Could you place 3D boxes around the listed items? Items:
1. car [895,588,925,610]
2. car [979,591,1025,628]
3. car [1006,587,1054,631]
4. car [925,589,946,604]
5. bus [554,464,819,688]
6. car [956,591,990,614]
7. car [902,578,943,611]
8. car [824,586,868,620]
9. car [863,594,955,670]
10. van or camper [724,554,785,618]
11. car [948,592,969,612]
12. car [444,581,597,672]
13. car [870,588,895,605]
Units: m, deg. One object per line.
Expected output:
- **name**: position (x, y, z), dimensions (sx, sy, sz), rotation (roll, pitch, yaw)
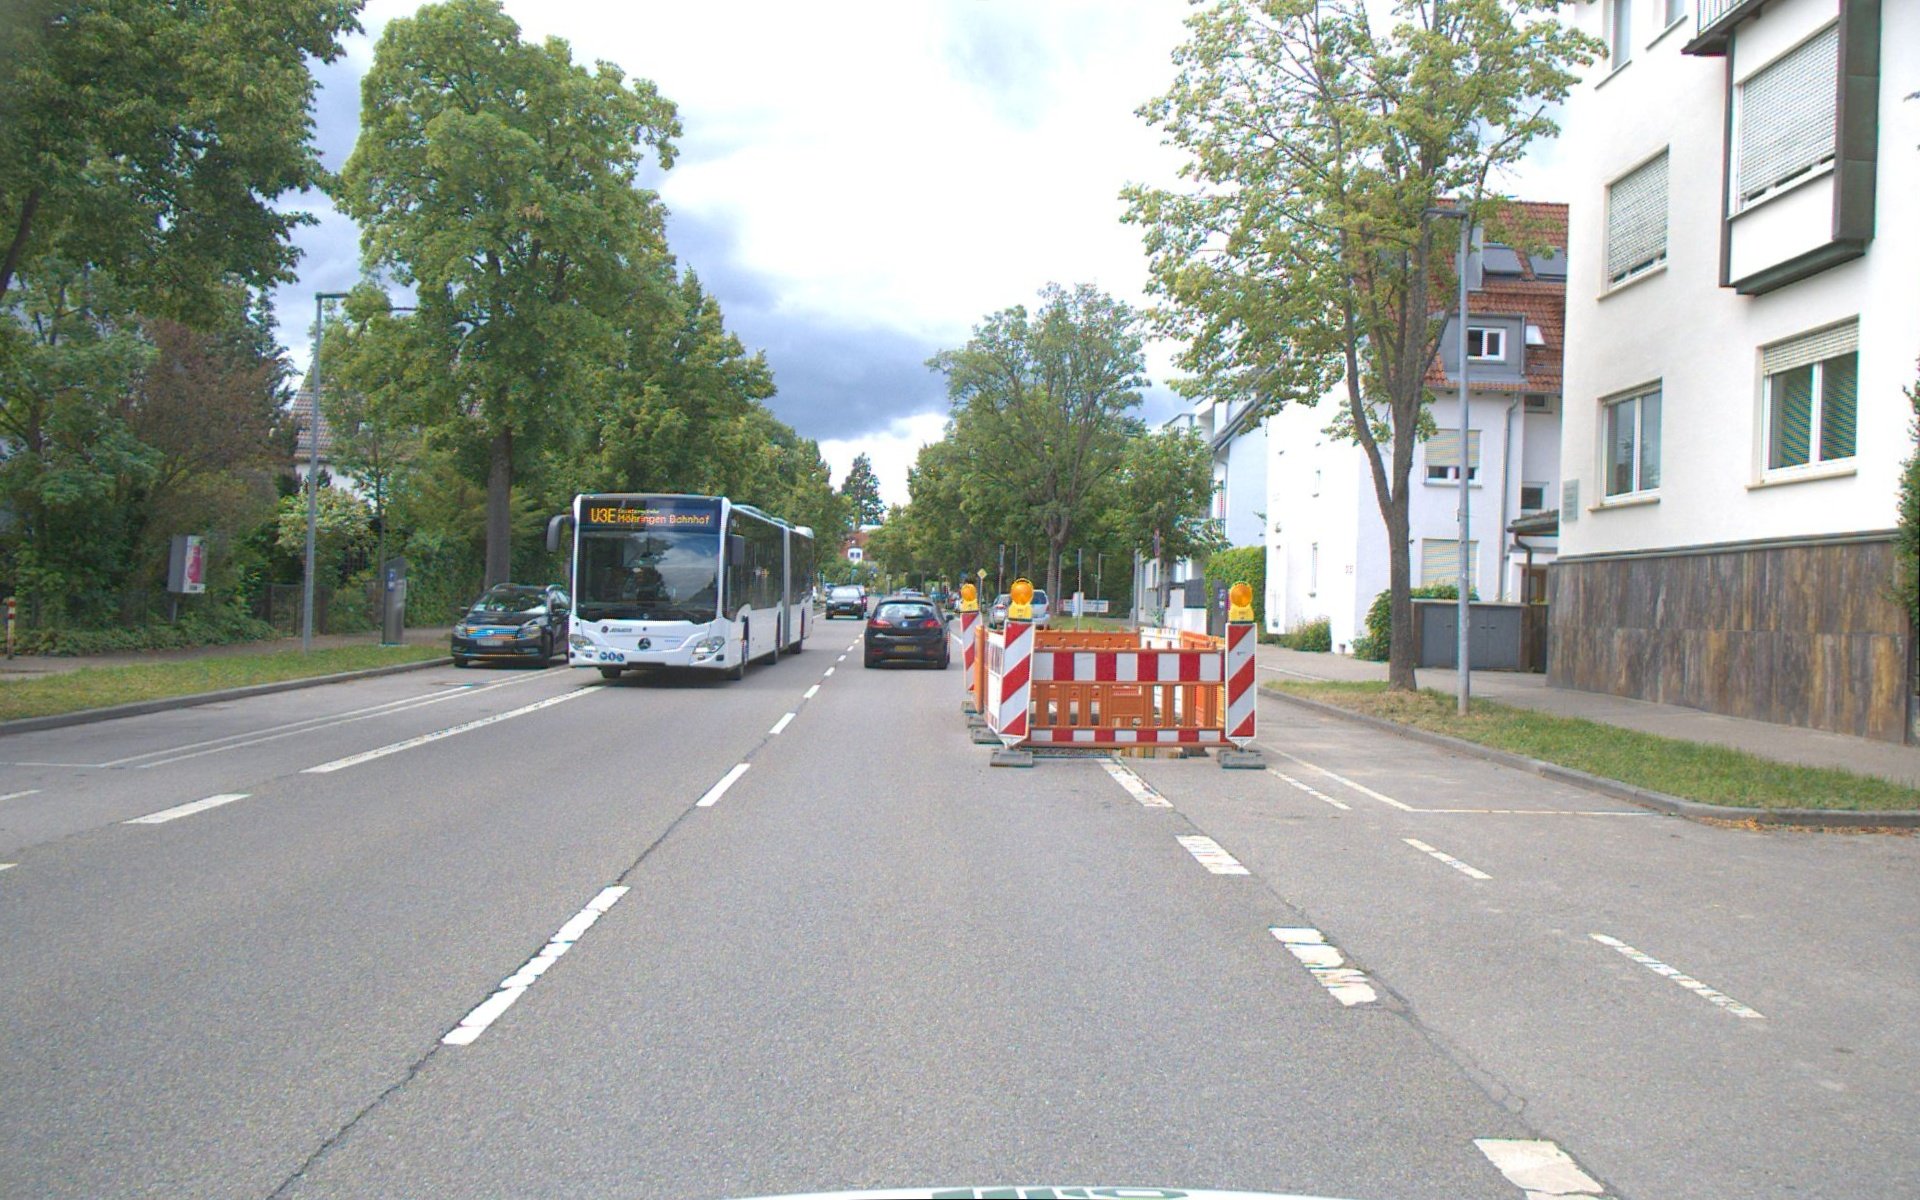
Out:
- **car**: position (-3.591, -0.080, 117.766), dimensions (1.954, 1.557, 3.997), rotation (1, 0, -4)
- **car**: position (1.788, 0.403, 71.000), dimensions (1.653, 1.519, 4.225), rotation (1, 0, -3)
- **car**: position (2.736, 0.342, 65.326), dimensions (1.600, 1.694, 3.646), rotation (1, 0, -2)
- **car**: position (-2.409, -0.324, 164.088), dimensions (1.651, 1.457, 4.038), rotation (1, 0, -7)
- **bus**: position (-4.948, -0.304, 34.332), dimensions (2.748, 3.346, 18.040), rotation (2, 0, -1)
- **car**: position (0.843, 0.145, 108.891), dimensions (1.980, 1.468, 5.023), rotation (1, 0, -2)
- **car**: position (-1.834, -0.264, 82.774), dimensions (1.953, 1.585, 4.000), rotation (1, 0, 0)
- **car**: position (-5.845, 0.127, 85.139), dimensions (1.953, 1.697, 4.588), rotation (0, 0, -1)
- **car**: position (-1.110, 0.627, 34.637), dimensions (1.748, 1.474, 3.554), rotation (1, 0, -5)
- **van or camper**: position (-10.420, -0.698, 84.499), dimensions (2.386, 3.062, 7.690), rotation (1, 0, -2)
- **car**: position (-0.106, 0.144, 129.163), dimensions (1.605, 1.445, 3.999), rotation (1, 0, -1)
- **car**: position (-8.398, 0.539, 31.999), dimensions (1.823, 1.580, 4.617), rotation (1, -2, -2)
- **car**: position (-7.046, -0.317, 150.708), dimensions (1.956, 1.534, 3.994), rotation (2, 0, -7)
